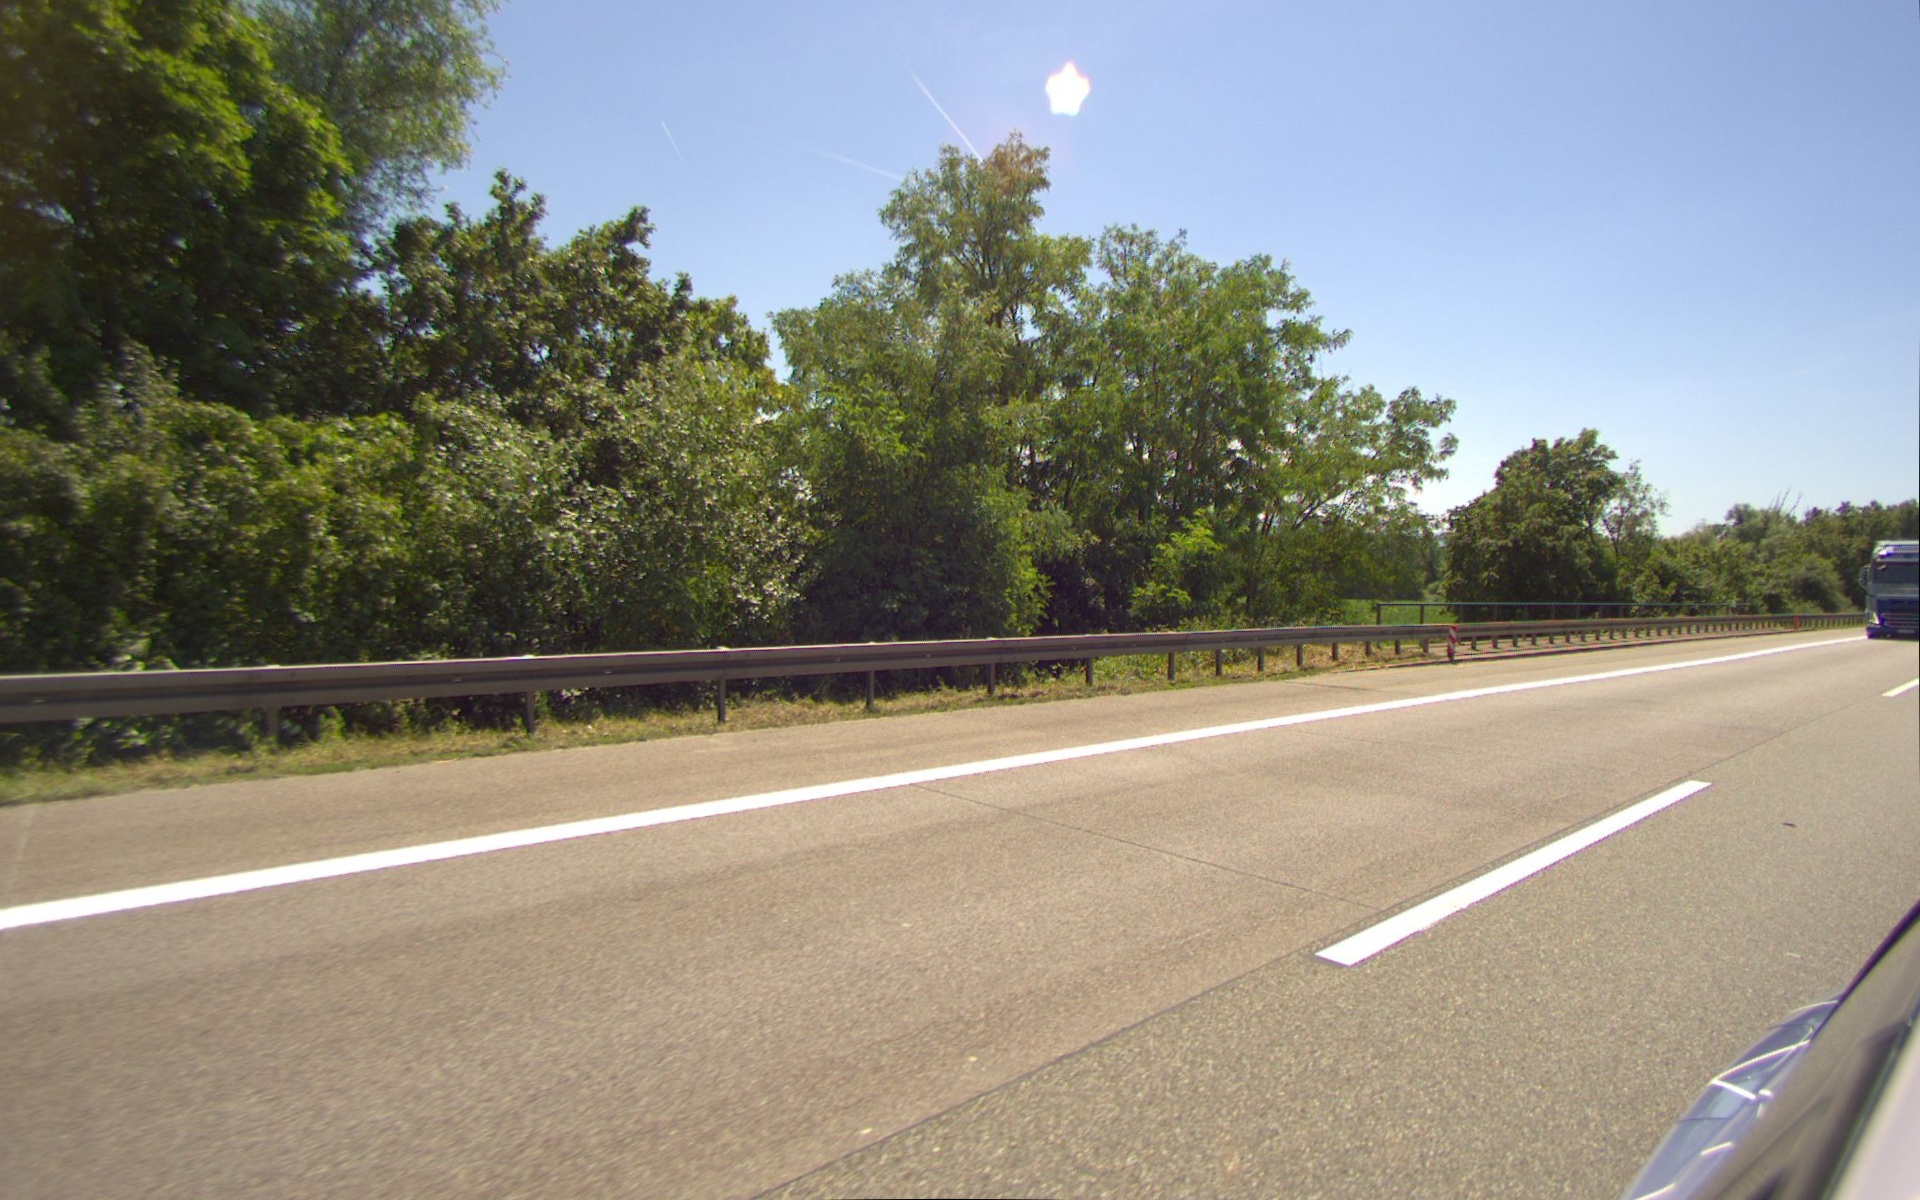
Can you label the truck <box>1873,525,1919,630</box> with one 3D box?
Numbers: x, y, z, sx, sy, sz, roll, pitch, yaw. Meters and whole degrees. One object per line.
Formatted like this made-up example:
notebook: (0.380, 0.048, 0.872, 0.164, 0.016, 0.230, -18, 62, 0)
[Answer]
truck: (42.806, -0.867, 44.022, 16.328, 4.007, 2.974, 0, 1, -42)
